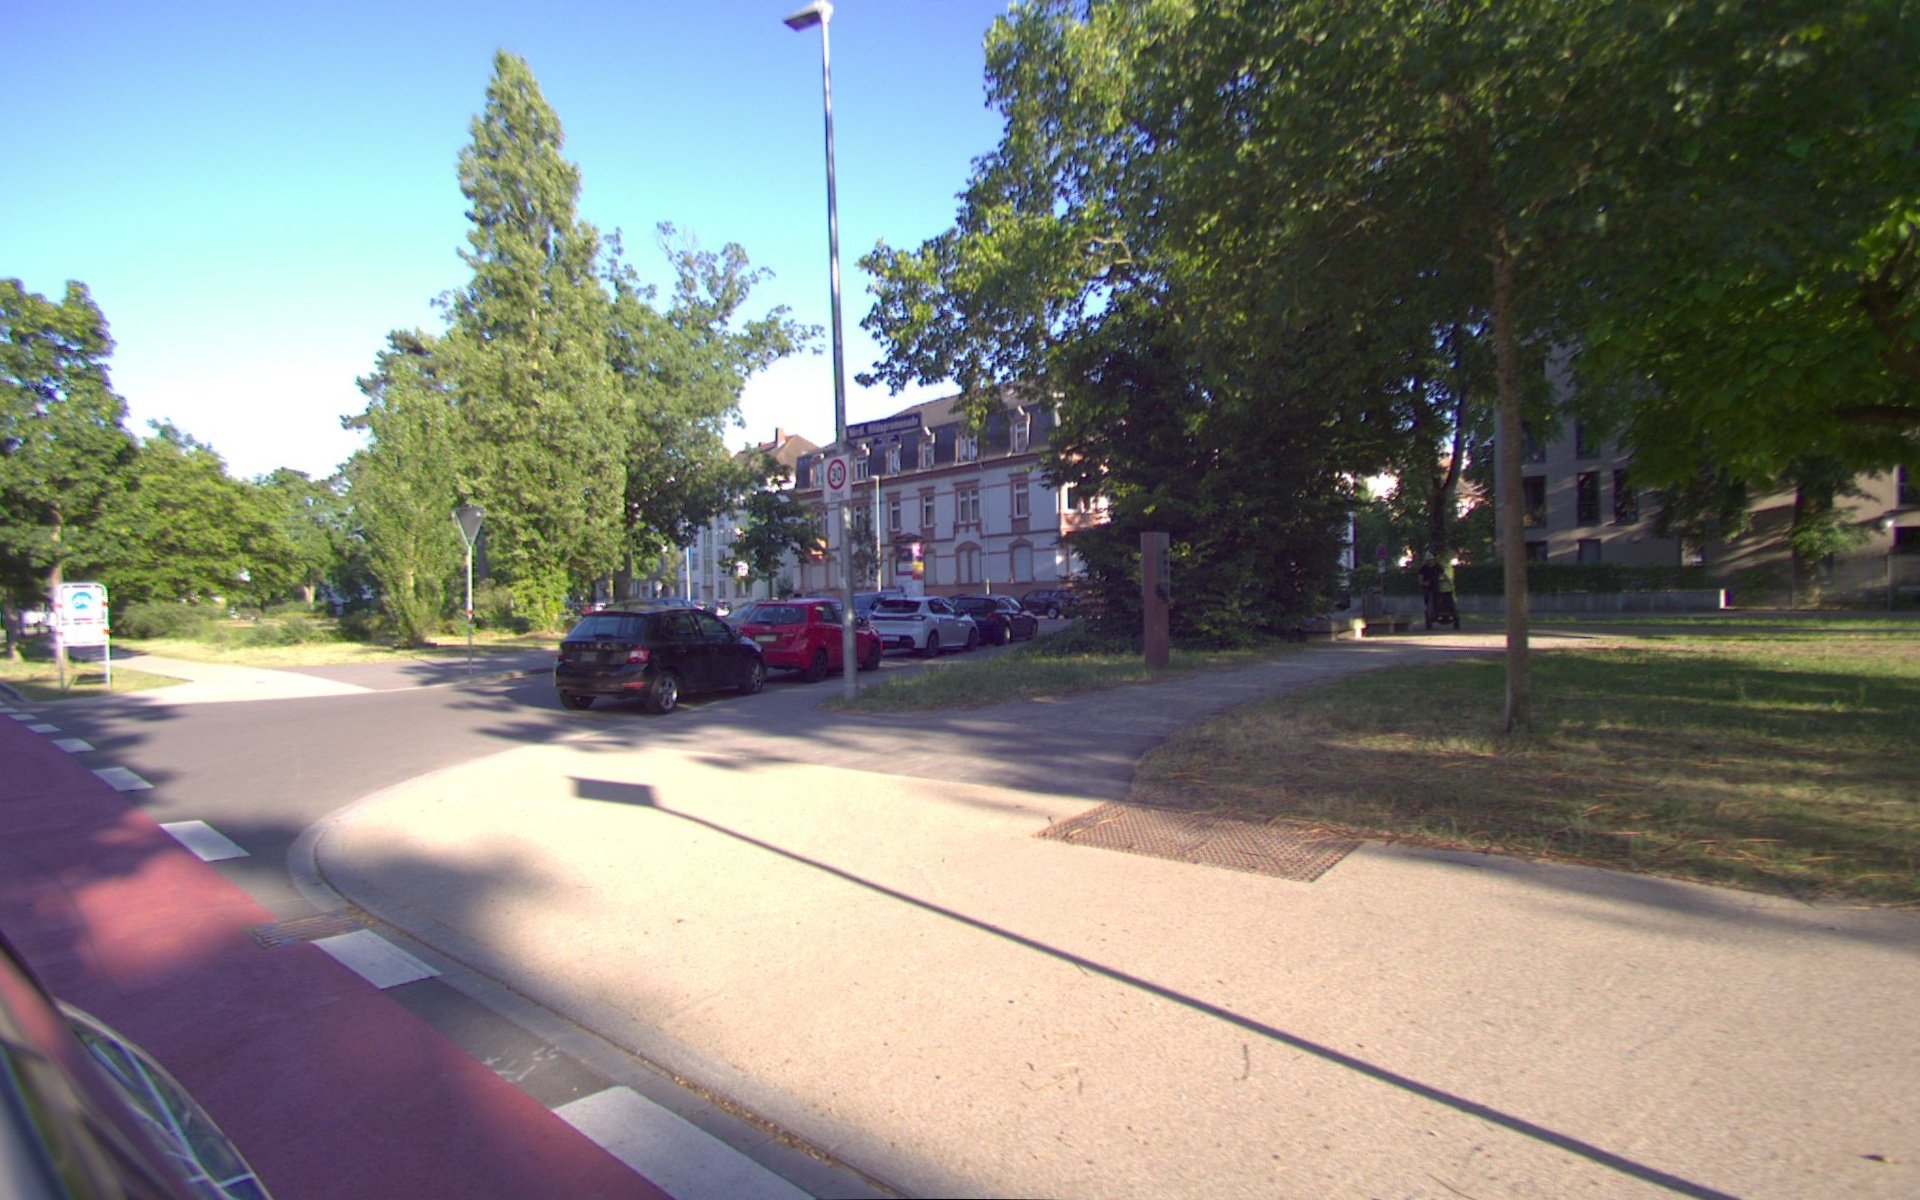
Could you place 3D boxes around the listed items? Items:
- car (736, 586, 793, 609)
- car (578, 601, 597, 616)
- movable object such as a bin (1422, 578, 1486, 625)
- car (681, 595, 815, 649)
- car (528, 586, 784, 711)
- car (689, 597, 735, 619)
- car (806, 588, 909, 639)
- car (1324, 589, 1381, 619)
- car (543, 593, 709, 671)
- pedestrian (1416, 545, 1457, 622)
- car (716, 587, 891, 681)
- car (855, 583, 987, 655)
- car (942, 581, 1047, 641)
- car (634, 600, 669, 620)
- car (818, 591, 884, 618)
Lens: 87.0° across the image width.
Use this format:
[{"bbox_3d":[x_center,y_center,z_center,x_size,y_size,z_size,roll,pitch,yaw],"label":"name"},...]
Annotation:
[{"bbox_3d":[-14.276,-0.233,73.855,1.863,1.586,4.602,-1,2,-45],"label":"car"},{"bbox_3d":[-43.088,0.980,116.939,1.858,1.586,4.615,-1,1,-23],"label":"car"},{"bbox_3d":[10.815,0.027,22.212,0.940,0.997,1.329,-1,0,12],"label":"movable object such as a bin"},{"bbox_3d":[-5.940,0.573,28.854,1.826,1.411,4.250,-1,0,19],"label":"car"},{"bbox_3d":[-4.420,0.605,15.391,1.874,1.586,3.979,0,1,17],"label":"car"},{"bbox_3d":[-19.858,0.606,80.949,1.860,1.586,4.609,-1,2,-38],"label":"car"},{"bbox_3d":[-3.479,0.422,35.168,1.827,1.656,4.246,-1,0,22],"label":"car"},{"bbox_3d":[22.061,0.196,56.811,1.889,1.586,3.948,1,2,39],"label":"car"},{"bbox_3d":[-7.702,0.685,23.751,1.824,1.643,3.825,-1,0,17],"label":"car"},{"bbox_3d":[10.922,-0.374,23.224,0.665,1.708,0.661,-2,1,13],"label":"pedestrian"},{"bbox_3d":[-2.921,0.554,19.773,1.874,1.586,3.979,0,1,17],"label":"car"},{"bbox_3d":[-0.870,0.388,24.905,1.877,1.586,3.973,1,1,21],"label":"car"},{"bbox_3d":[1.083,0.244,29.461,1.878,1.586,3.972,1,1,21],"label":"car"},{"bbox_3d":[-28.331,0.892,92.859,1.859,1.586,4.612,-1,2,-33],"label":"car"},{"bbox_3d":[-6.910,0.246,63.906,1.862,1.586,4.606,-1,2,-41],"label":"car"}]
